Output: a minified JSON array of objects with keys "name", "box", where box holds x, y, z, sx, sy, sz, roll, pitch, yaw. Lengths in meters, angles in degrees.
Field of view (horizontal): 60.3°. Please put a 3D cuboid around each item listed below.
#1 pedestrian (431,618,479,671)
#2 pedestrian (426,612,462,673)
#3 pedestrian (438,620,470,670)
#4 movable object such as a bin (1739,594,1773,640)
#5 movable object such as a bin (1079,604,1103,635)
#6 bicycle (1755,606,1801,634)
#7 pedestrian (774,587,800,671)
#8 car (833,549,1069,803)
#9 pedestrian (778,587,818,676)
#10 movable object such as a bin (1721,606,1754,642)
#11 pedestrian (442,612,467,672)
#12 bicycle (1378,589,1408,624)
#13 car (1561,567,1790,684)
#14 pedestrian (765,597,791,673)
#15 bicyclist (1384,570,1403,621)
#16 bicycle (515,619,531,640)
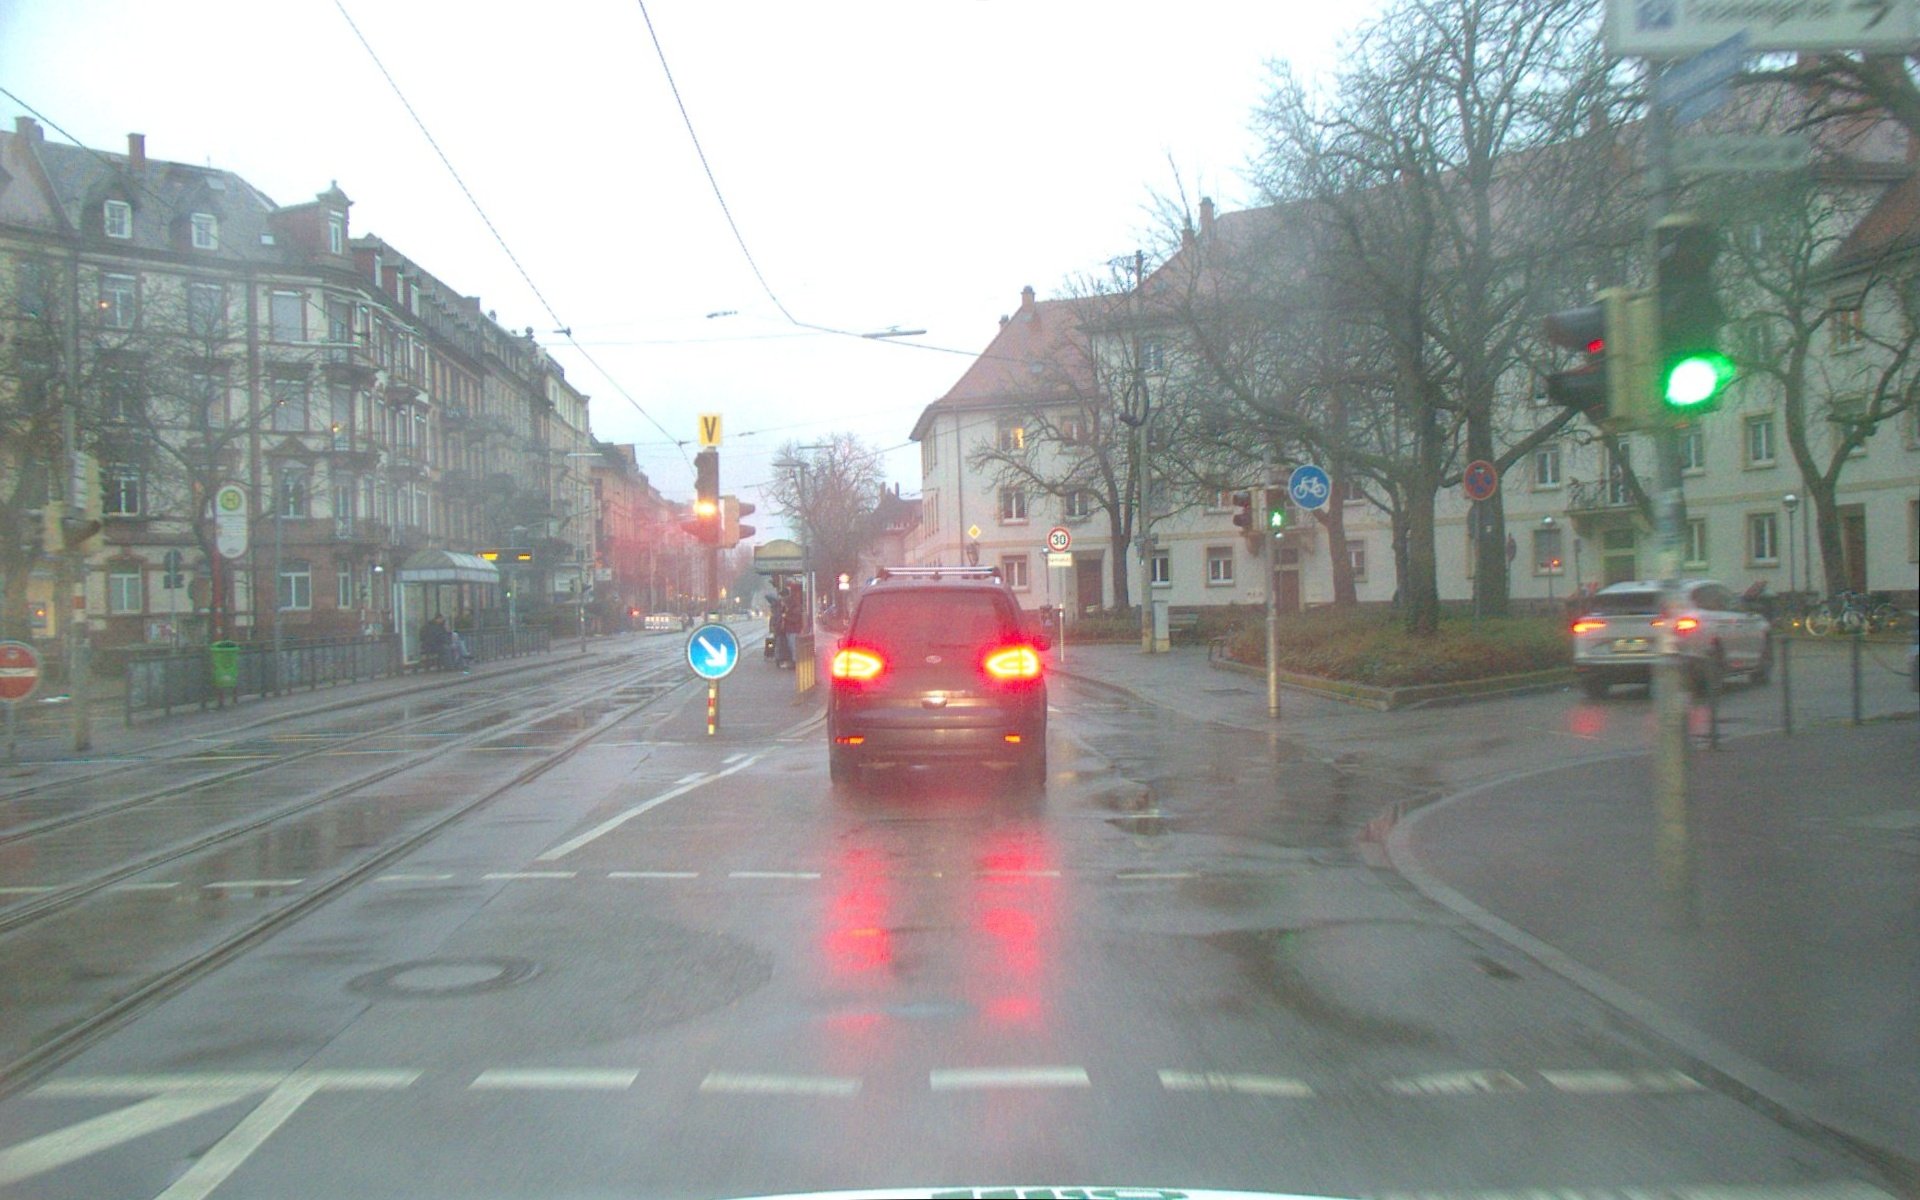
[{"name":"pedestrian","box":[-12.585,1.105,41.225,1.035,1.276,0.506,2,-1,-6]},{"name":"pedestrian","box":[-12.354,1.004,39.619,0.671,1.428,0.577,2,-1,-6]},{"name":"pedestrian","box":[-12.761,1.127,41.746,0.640,1.240,0.516,2,-1,-6]},{"name":"movable object such as a bin","box":[22.074,0.480,45.874,0.518,1.250,0.648,-1,-1,-17]},{"name":"movable object such as a bin","box":[5.476,0.816,68.967,0.837,1.273,0.520,1,-1,37]},{"name":"bicycle","box":[23.388,0.578,47.332,0.332,0.779,1.586,-1,0,-8]},{"name":"pedestrian","box":[-4.213,0.700,40.267,0.546,2.022,0.570,2,-1,-5]},{"name":"car","box":[-0.194,0.606,14.696,1.766,1.903,4.014,2,-1,-4]},{"name":"pedestrian","box":[-3.703,0.725,37.797,0.837,1.990,0.570,2,-1,-5]},{"name":"movable object such as a bin","box":[21.862,0.674,46.527,0.518,0.998,0.648,-1,-1,-17]},{"name":"pedestrian","box":[-12.256,1.013,40.117,0.464,1.428,0.453,2,-1,-6]},{"name":"bicycle","box":[16.647,0.240,63.619,0.457,1.314,1.912,-1,0,-5]},{"name":"car","box":[10.571,0.387,24.249,1.864,1.536,4.729,1,-1,39]},{"name":"pedestrian","box":[-4.307,0.827,39.242,0.546,1.771,0.570,2,-1,-5]},{"name":"bicyclist","box":[16.640,-0.160,63.478,0.457,1.919,0.678,-1,-1,-5]},{"name":"bicycle","box":[-22.497,1.503,85.186,0.408,1.024,1.847,-1,0,-4]}]
